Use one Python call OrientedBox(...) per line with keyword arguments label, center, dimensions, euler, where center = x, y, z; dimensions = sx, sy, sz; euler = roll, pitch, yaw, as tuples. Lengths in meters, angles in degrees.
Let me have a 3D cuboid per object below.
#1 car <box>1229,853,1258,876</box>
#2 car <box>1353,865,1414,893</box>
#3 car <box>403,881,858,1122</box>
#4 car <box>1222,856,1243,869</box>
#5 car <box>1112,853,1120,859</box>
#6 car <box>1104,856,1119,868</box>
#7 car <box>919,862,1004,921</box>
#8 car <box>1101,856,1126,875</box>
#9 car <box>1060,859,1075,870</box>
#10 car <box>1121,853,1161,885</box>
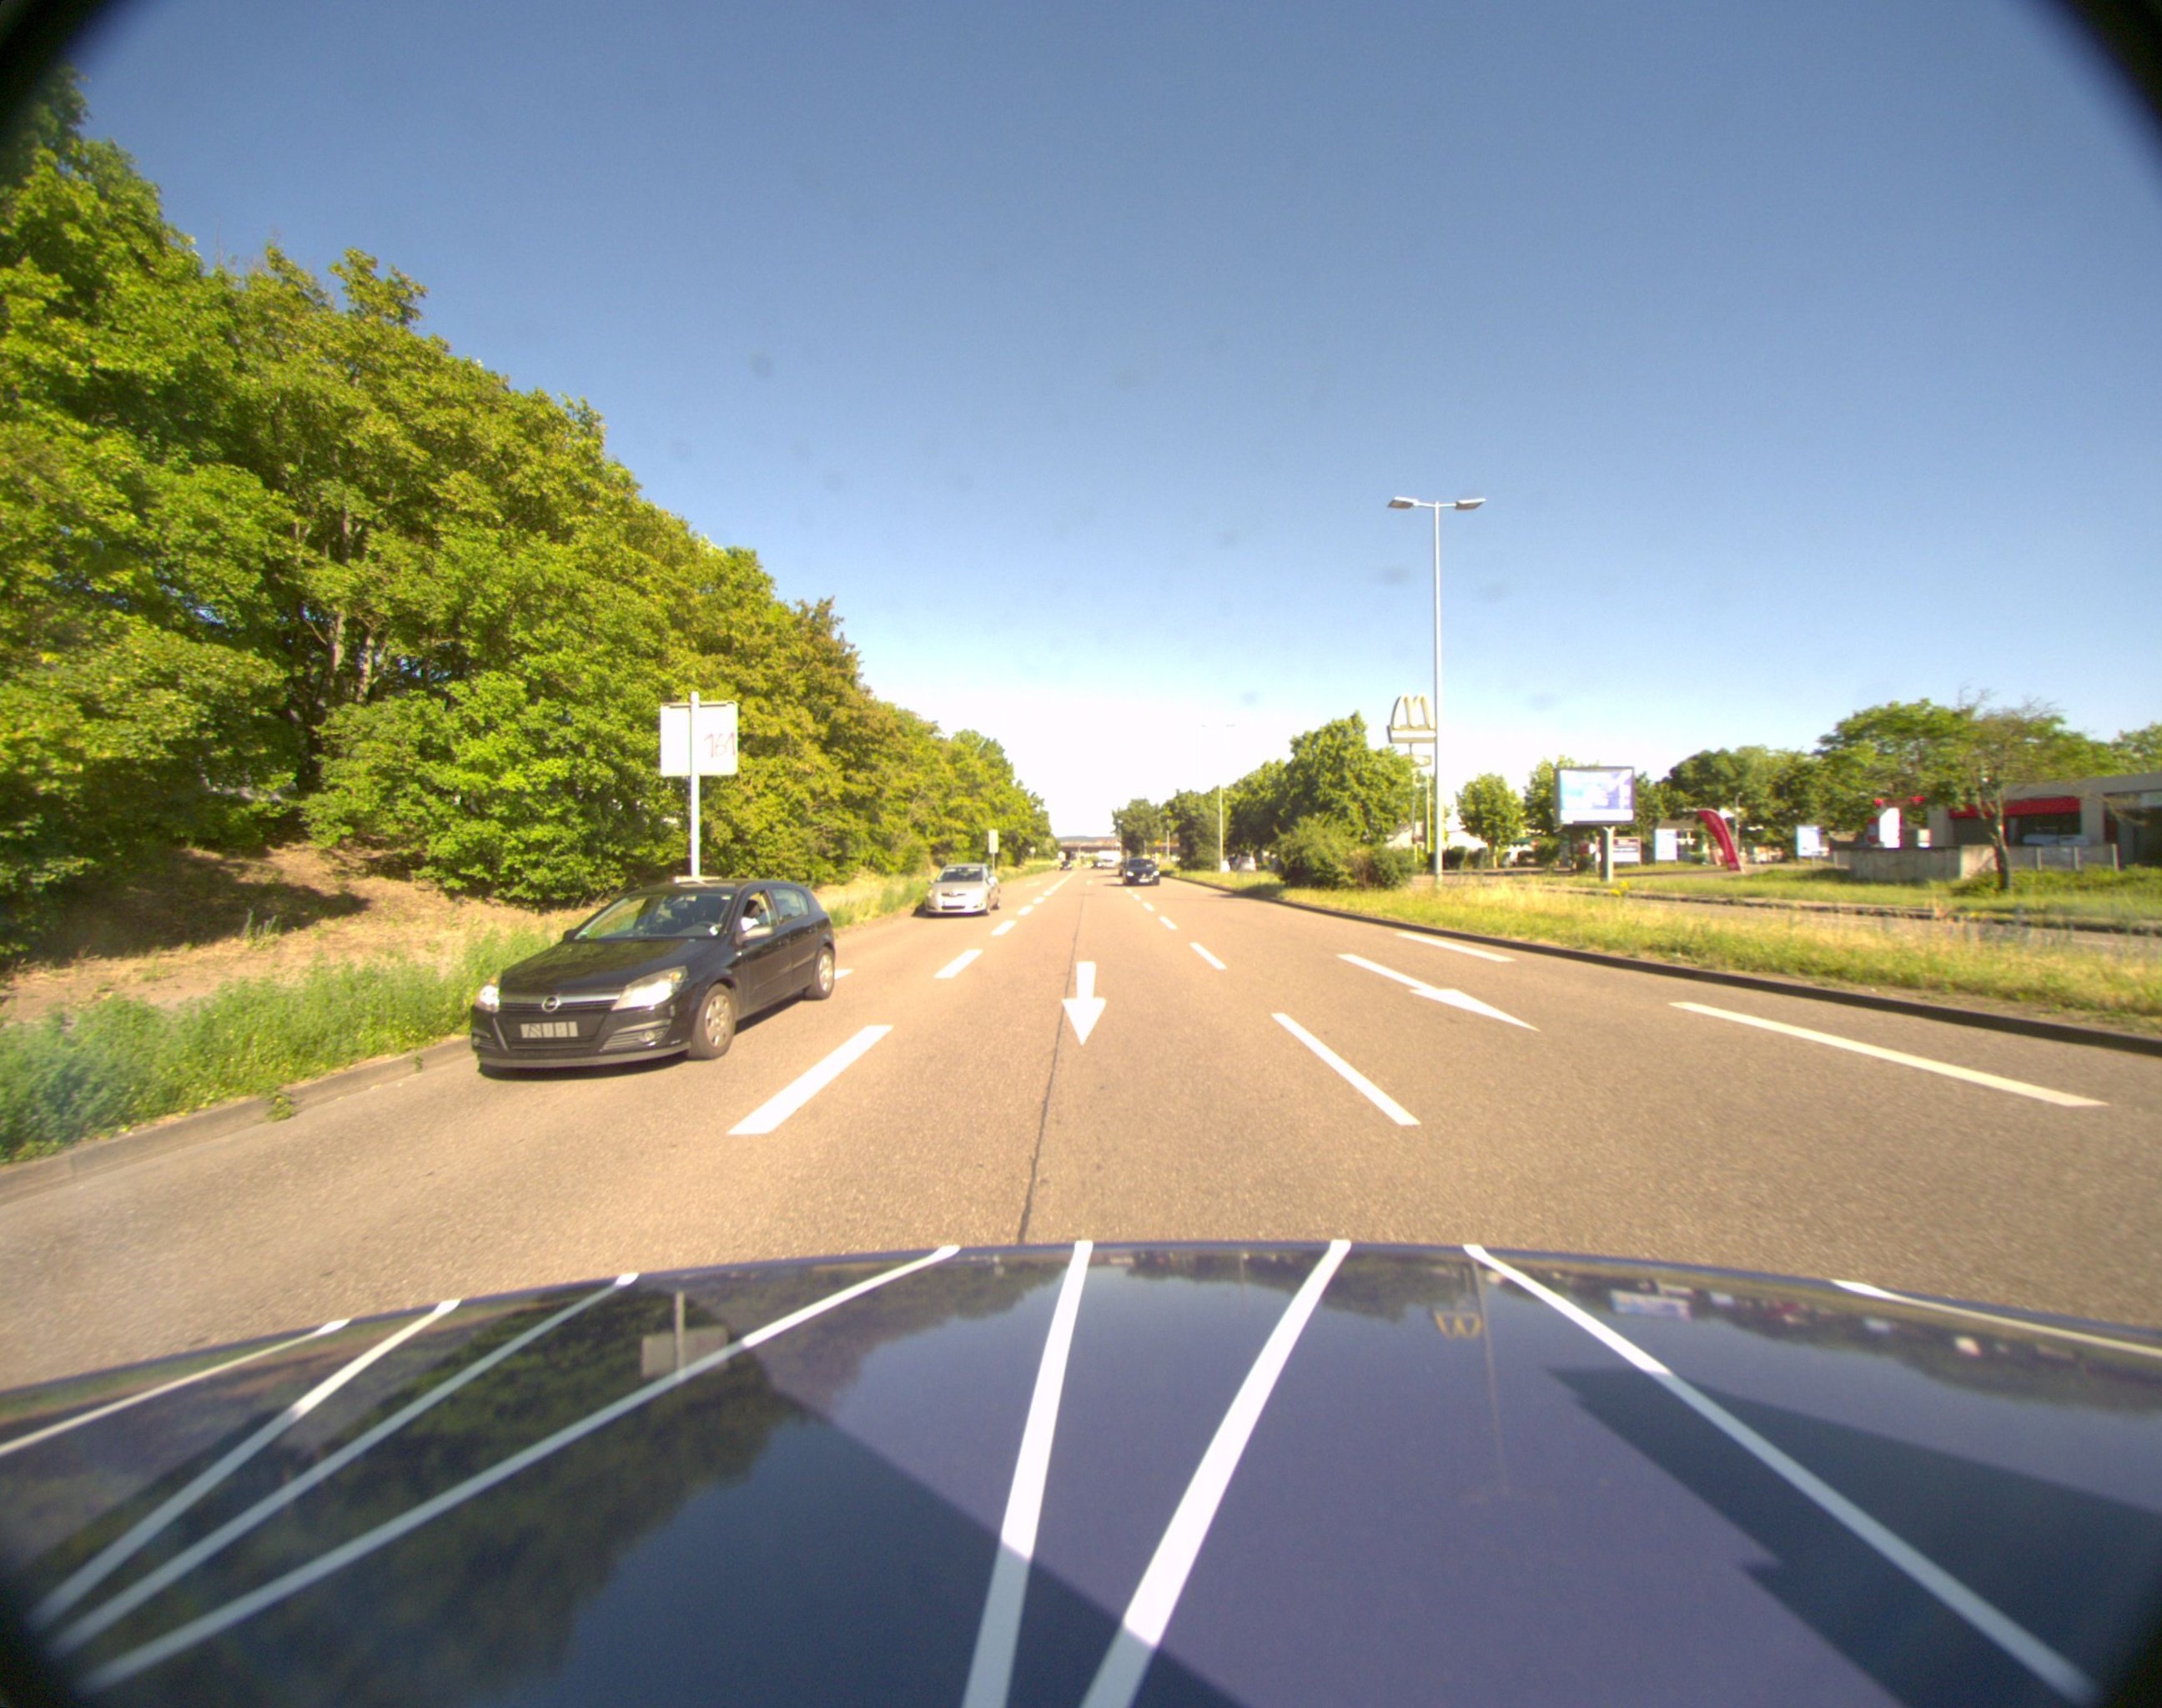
OrientedBox(label="car", center=(13.892, 0.836, 64.995), dimensions=(1.649, 1.803, 3.706), euler=(-2, 1, 1))
OrientedBox(label="car", center=(17.410, 1.387, 43.971), dimensions=(1.649, 1.326, 4.681), euler=(2, 1, 1))
OrientedBox(label="car", center=(-3.759, 1.099, 7.443), dimensions=(1.738, 1.433, 4.371), euler=(-2, 0, 1))
OrientedBox(label="car", center=(20.994, 1.101, 105.713), dimensions=(1.998, 1.619, 4.771), euler=(-2, 1, 1))
OrientedBox(label="car", center=(9.091, 0.467, 198.825), dimensions=(1.998, 1.433, 4.000), euler=(-1, 0, 2))
OrientedBox(label="car", center=(4.326, 1.130, 107.454), dimensions=(2.025, 1.601, 4.098), euler=(-2, 0, 1))
OrientedBox(label="car", center=(-3.456, 1.044, 22.768), dimensions=(1.788, 1.528, 4.108), euler=(-2, 0, 1))
OrientedBox(label="car", center=(2.755, 0.964, 65.585), dimensions=(1.952, 1.501, 4.462), euler=(-2, 1, 1))
OrientedBox(label="car", center=(-2.093, 1.638, 116.504), dimensions=(2.036, 1.601, 4.098), euler=(-2, 0, 1))
OrientedBox(label="car", center=(3.224, 0.780, 41.555), dimensions=(1.788, 1.592, 4.583), euler=(-1, 0, 0))
